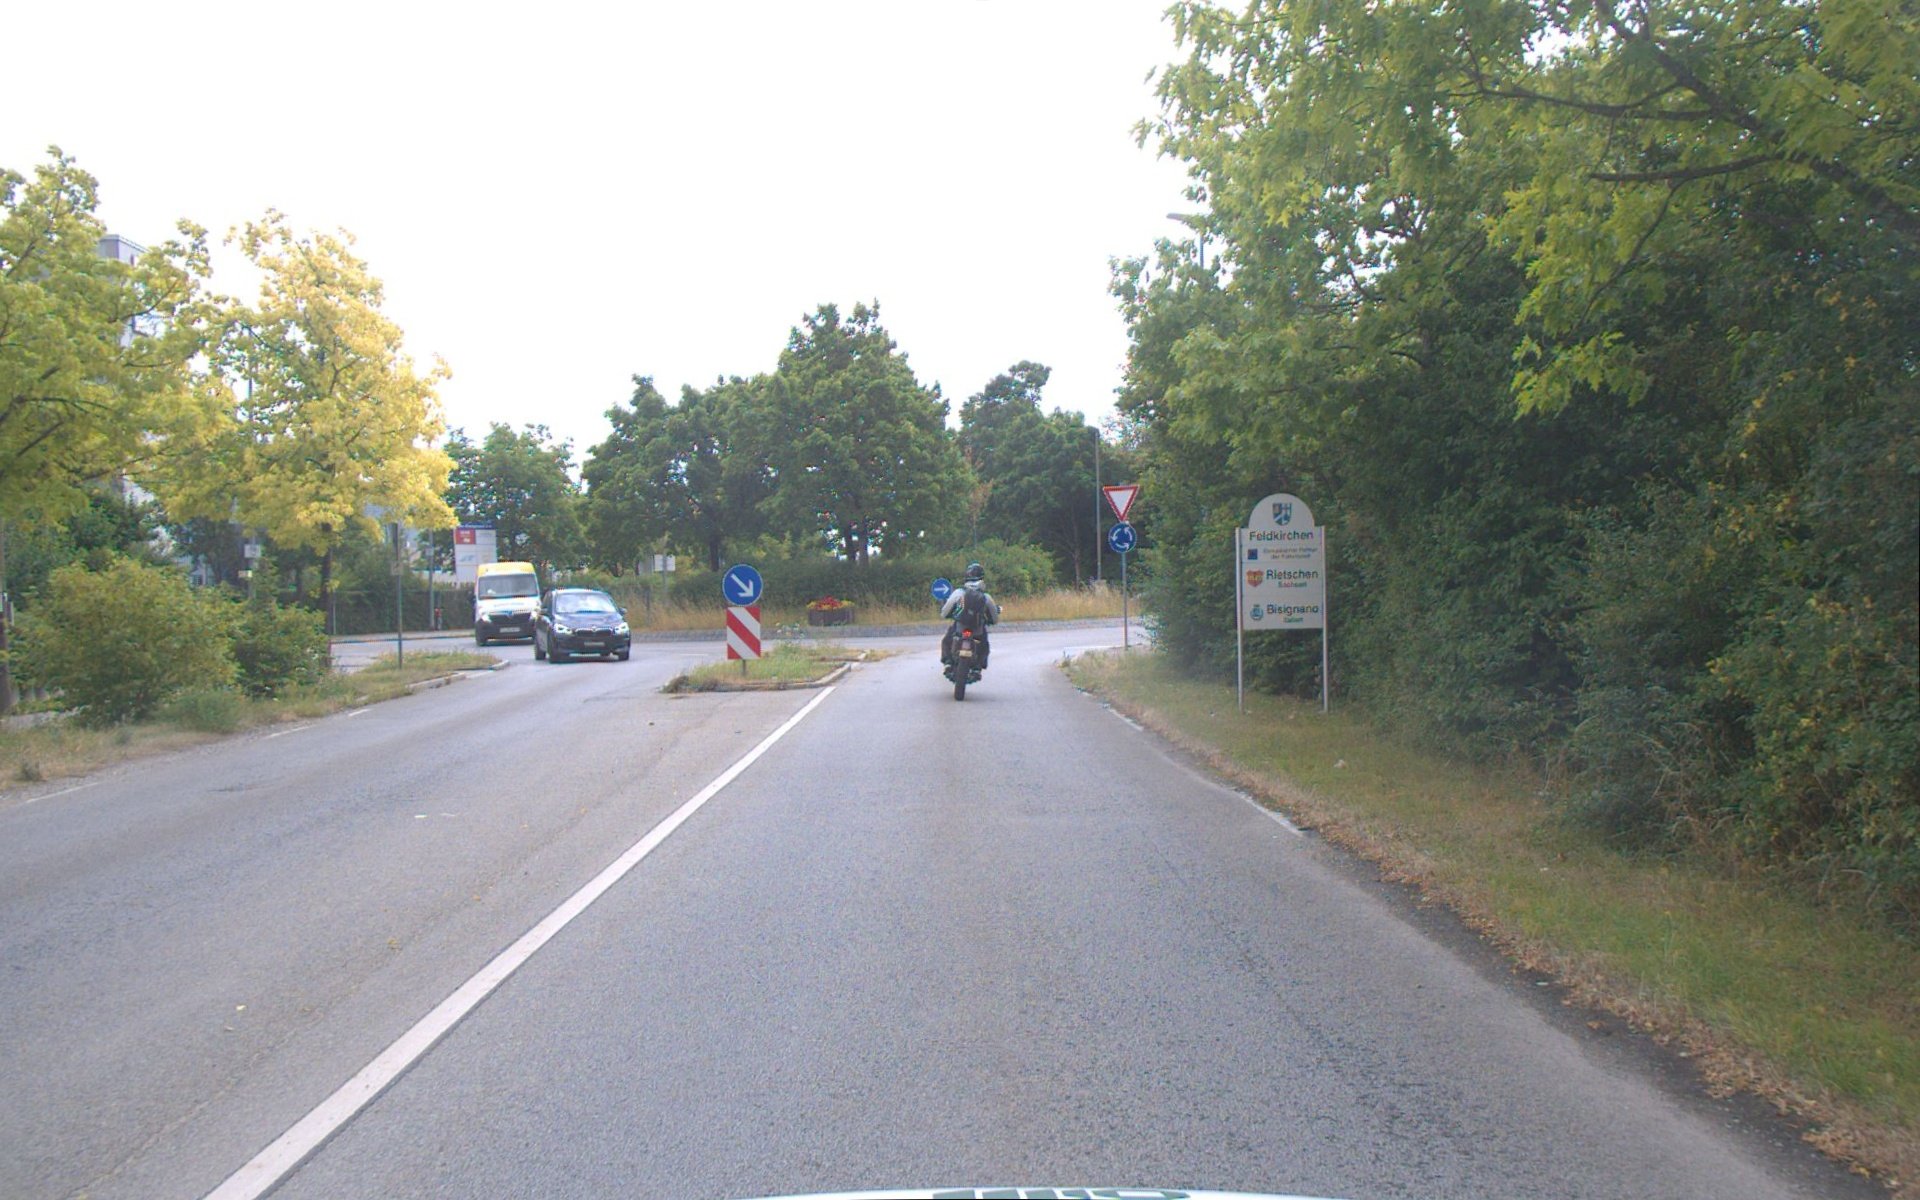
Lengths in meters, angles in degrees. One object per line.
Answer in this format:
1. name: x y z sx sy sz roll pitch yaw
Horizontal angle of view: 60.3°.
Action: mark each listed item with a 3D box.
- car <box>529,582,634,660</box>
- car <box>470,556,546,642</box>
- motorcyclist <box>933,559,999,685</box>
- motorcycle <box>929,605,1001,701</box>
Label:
1. car: -8.763 0.464 38.104 1.713 1.613 4.328 -3 1 -21
2. car: -14.156 -0.059 51.789 2.127 2.494 5.419 -2 1 -16
3. motorcyclist: 0.093 0.285 22.339 0.843 1.652 1.191 -1 0 1
4. motorcycle: 0.097 0.680 22.366 0.878 1.178 2.621 -1 0 2
